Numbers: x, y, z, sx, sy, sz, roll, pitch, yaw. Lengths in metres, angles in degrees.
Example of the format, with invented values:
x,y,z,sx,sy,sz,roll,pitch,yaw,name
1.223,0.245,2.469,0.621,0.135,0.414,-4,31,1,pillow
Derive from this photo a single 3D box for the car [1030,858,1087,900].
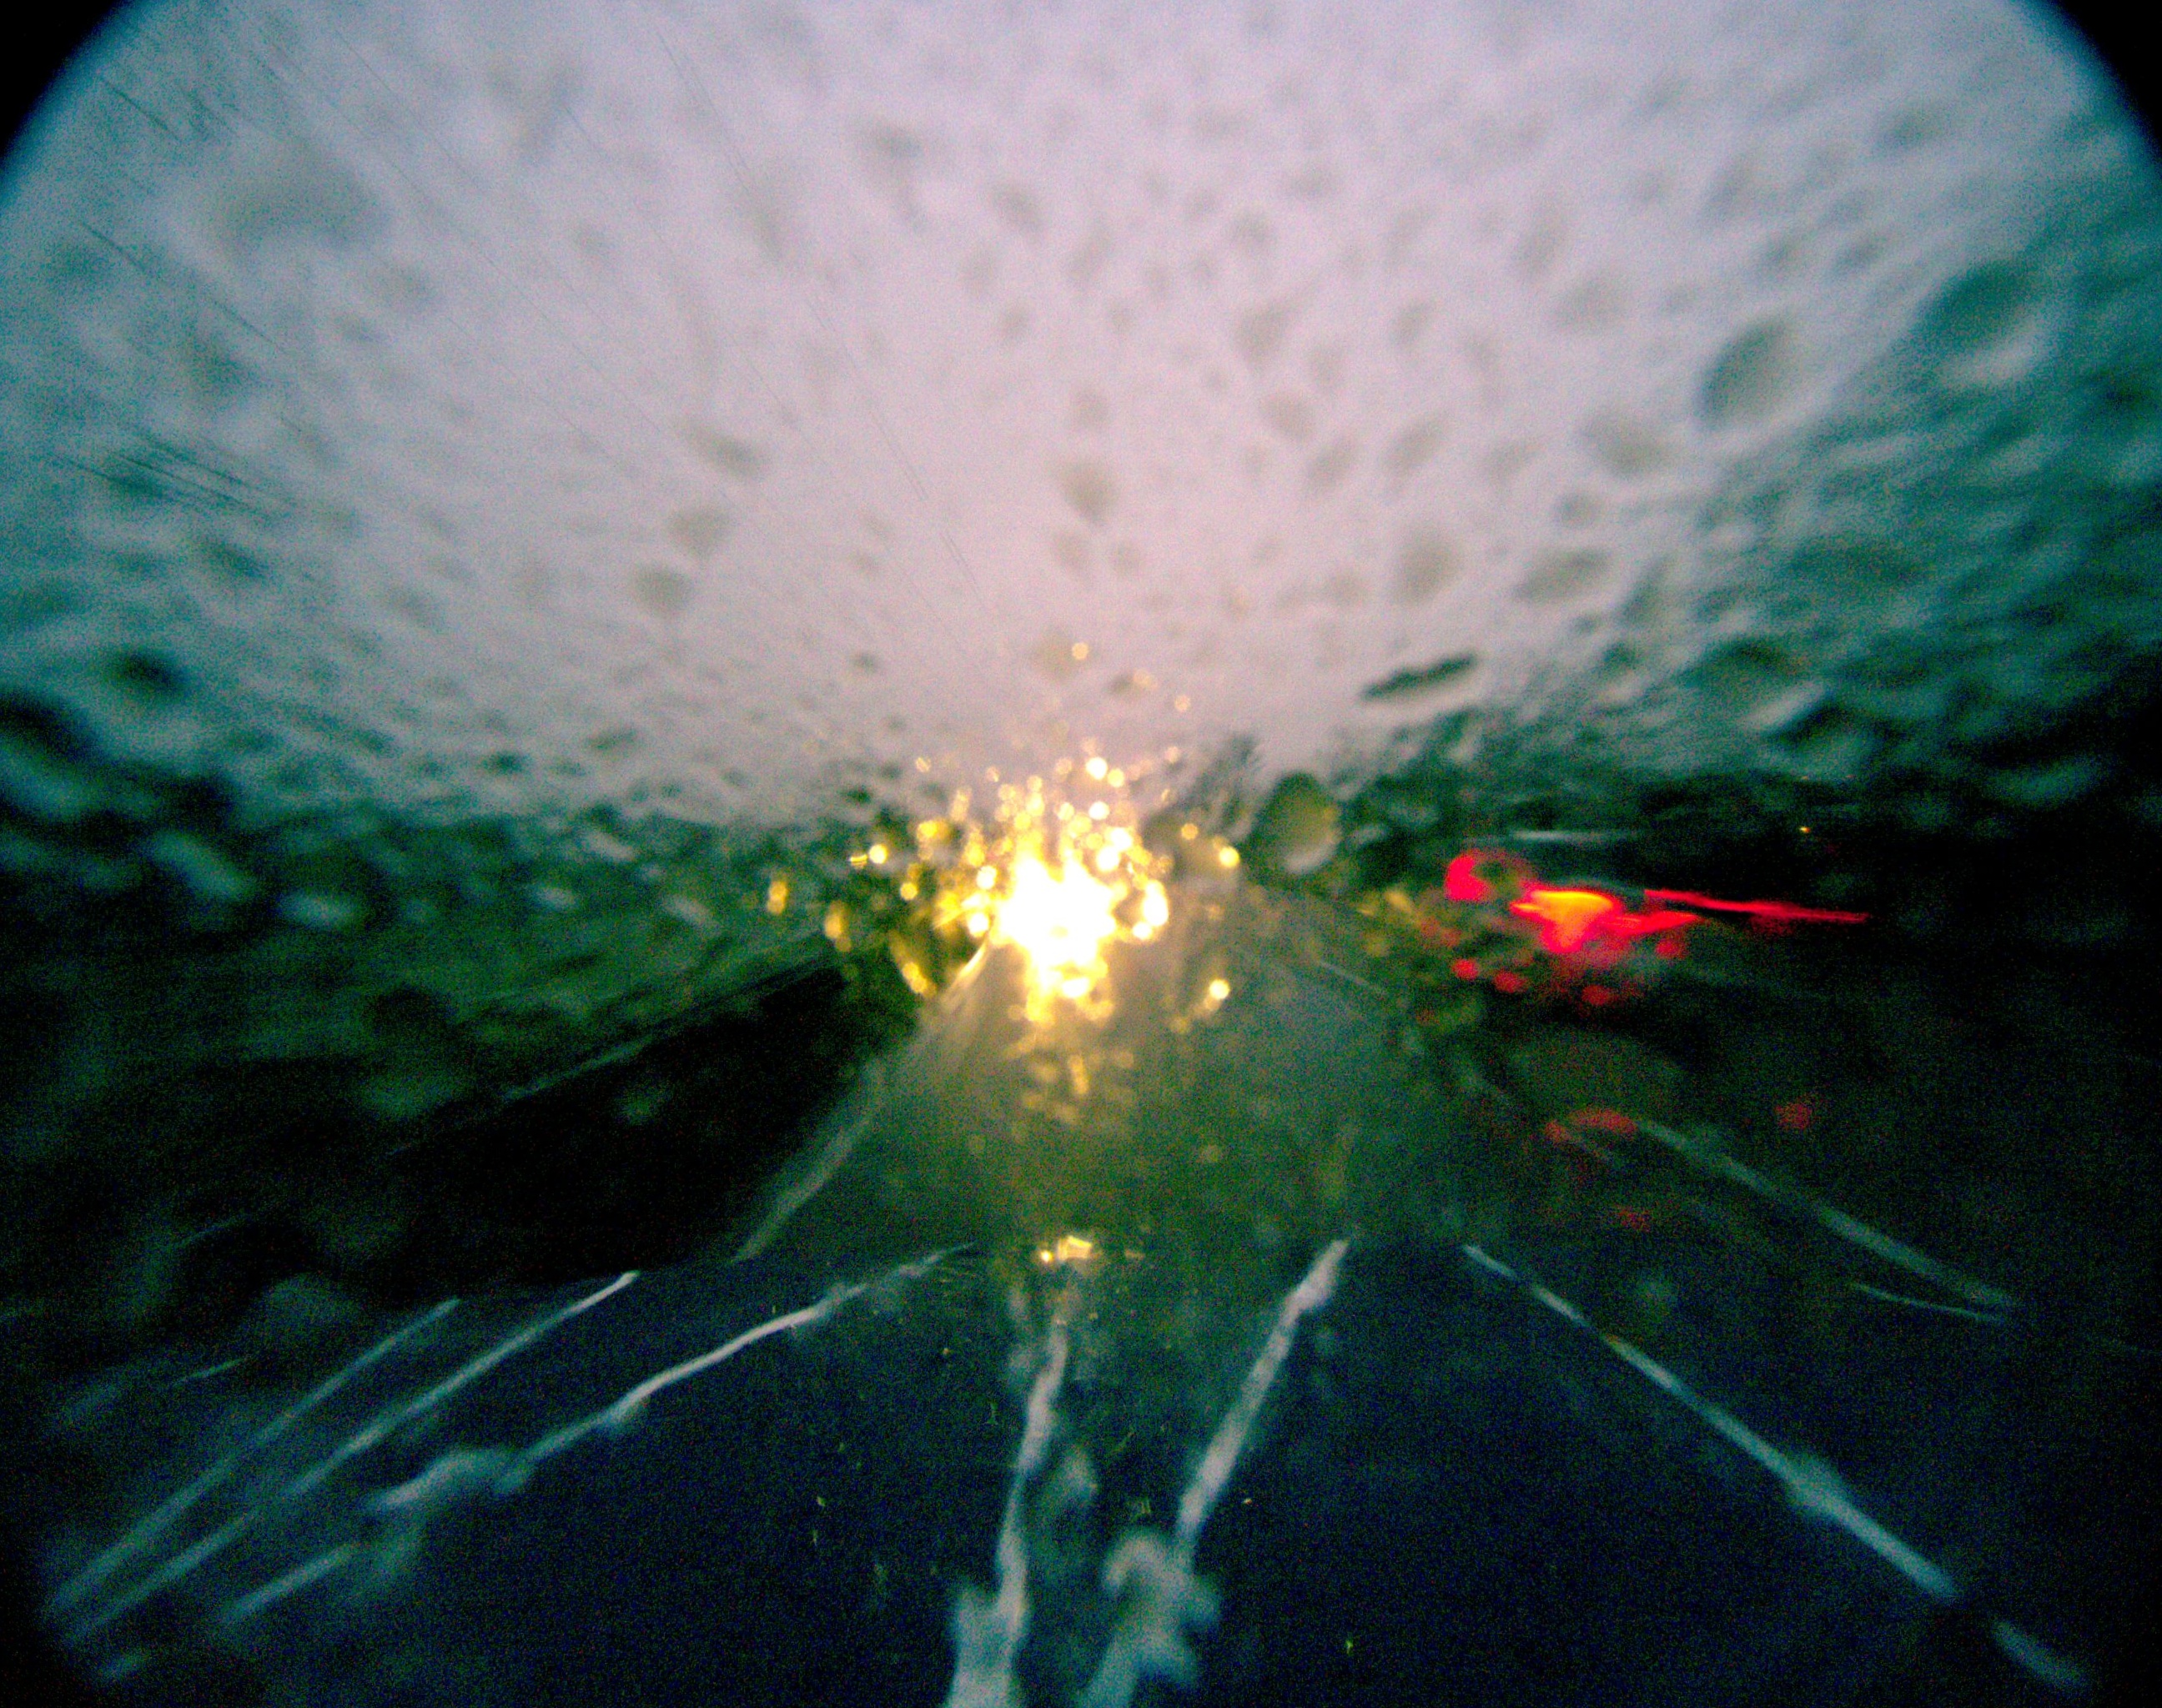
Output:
x,y,z,sx,sy,sz,roll,pitch,yaw,name
-1.038,1.047,32.582,1.888,1.513,3.998,-5,-1,-8,car

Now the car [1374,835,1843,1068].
x,y,z,sx,sy,sz,roll,pitch,yaw,name
4.364,0.655,7.177,1.704,1.566,4.000,-1,0,1,car

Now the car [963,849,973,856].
x,y,z,sx,sy,sz,roll,pitch,yaw,name
-26.818,-0.288,179.537,1.895,1.581,4.376,-3,2,-13,car

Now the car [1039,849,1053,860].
x,y,z,sx,sy,sz,roll,pitch,yaw,name
-5.067,0.110,110.150,1.869,1.492,4.519,-1,1,-5,car

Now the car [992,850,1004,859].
x,y,z,sx,sy,sz,roll,pitch,yaw,name
-16.379,0.068,149.905,2.000,1.482,4.377,-2,1,-8,car

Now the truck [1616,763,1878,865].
x,y,z,sx,sy,sz,roll,pitch,yaw,name
35.270,-2.052,41.620,3.282,4.585,13.876,-1,2,6,truck
